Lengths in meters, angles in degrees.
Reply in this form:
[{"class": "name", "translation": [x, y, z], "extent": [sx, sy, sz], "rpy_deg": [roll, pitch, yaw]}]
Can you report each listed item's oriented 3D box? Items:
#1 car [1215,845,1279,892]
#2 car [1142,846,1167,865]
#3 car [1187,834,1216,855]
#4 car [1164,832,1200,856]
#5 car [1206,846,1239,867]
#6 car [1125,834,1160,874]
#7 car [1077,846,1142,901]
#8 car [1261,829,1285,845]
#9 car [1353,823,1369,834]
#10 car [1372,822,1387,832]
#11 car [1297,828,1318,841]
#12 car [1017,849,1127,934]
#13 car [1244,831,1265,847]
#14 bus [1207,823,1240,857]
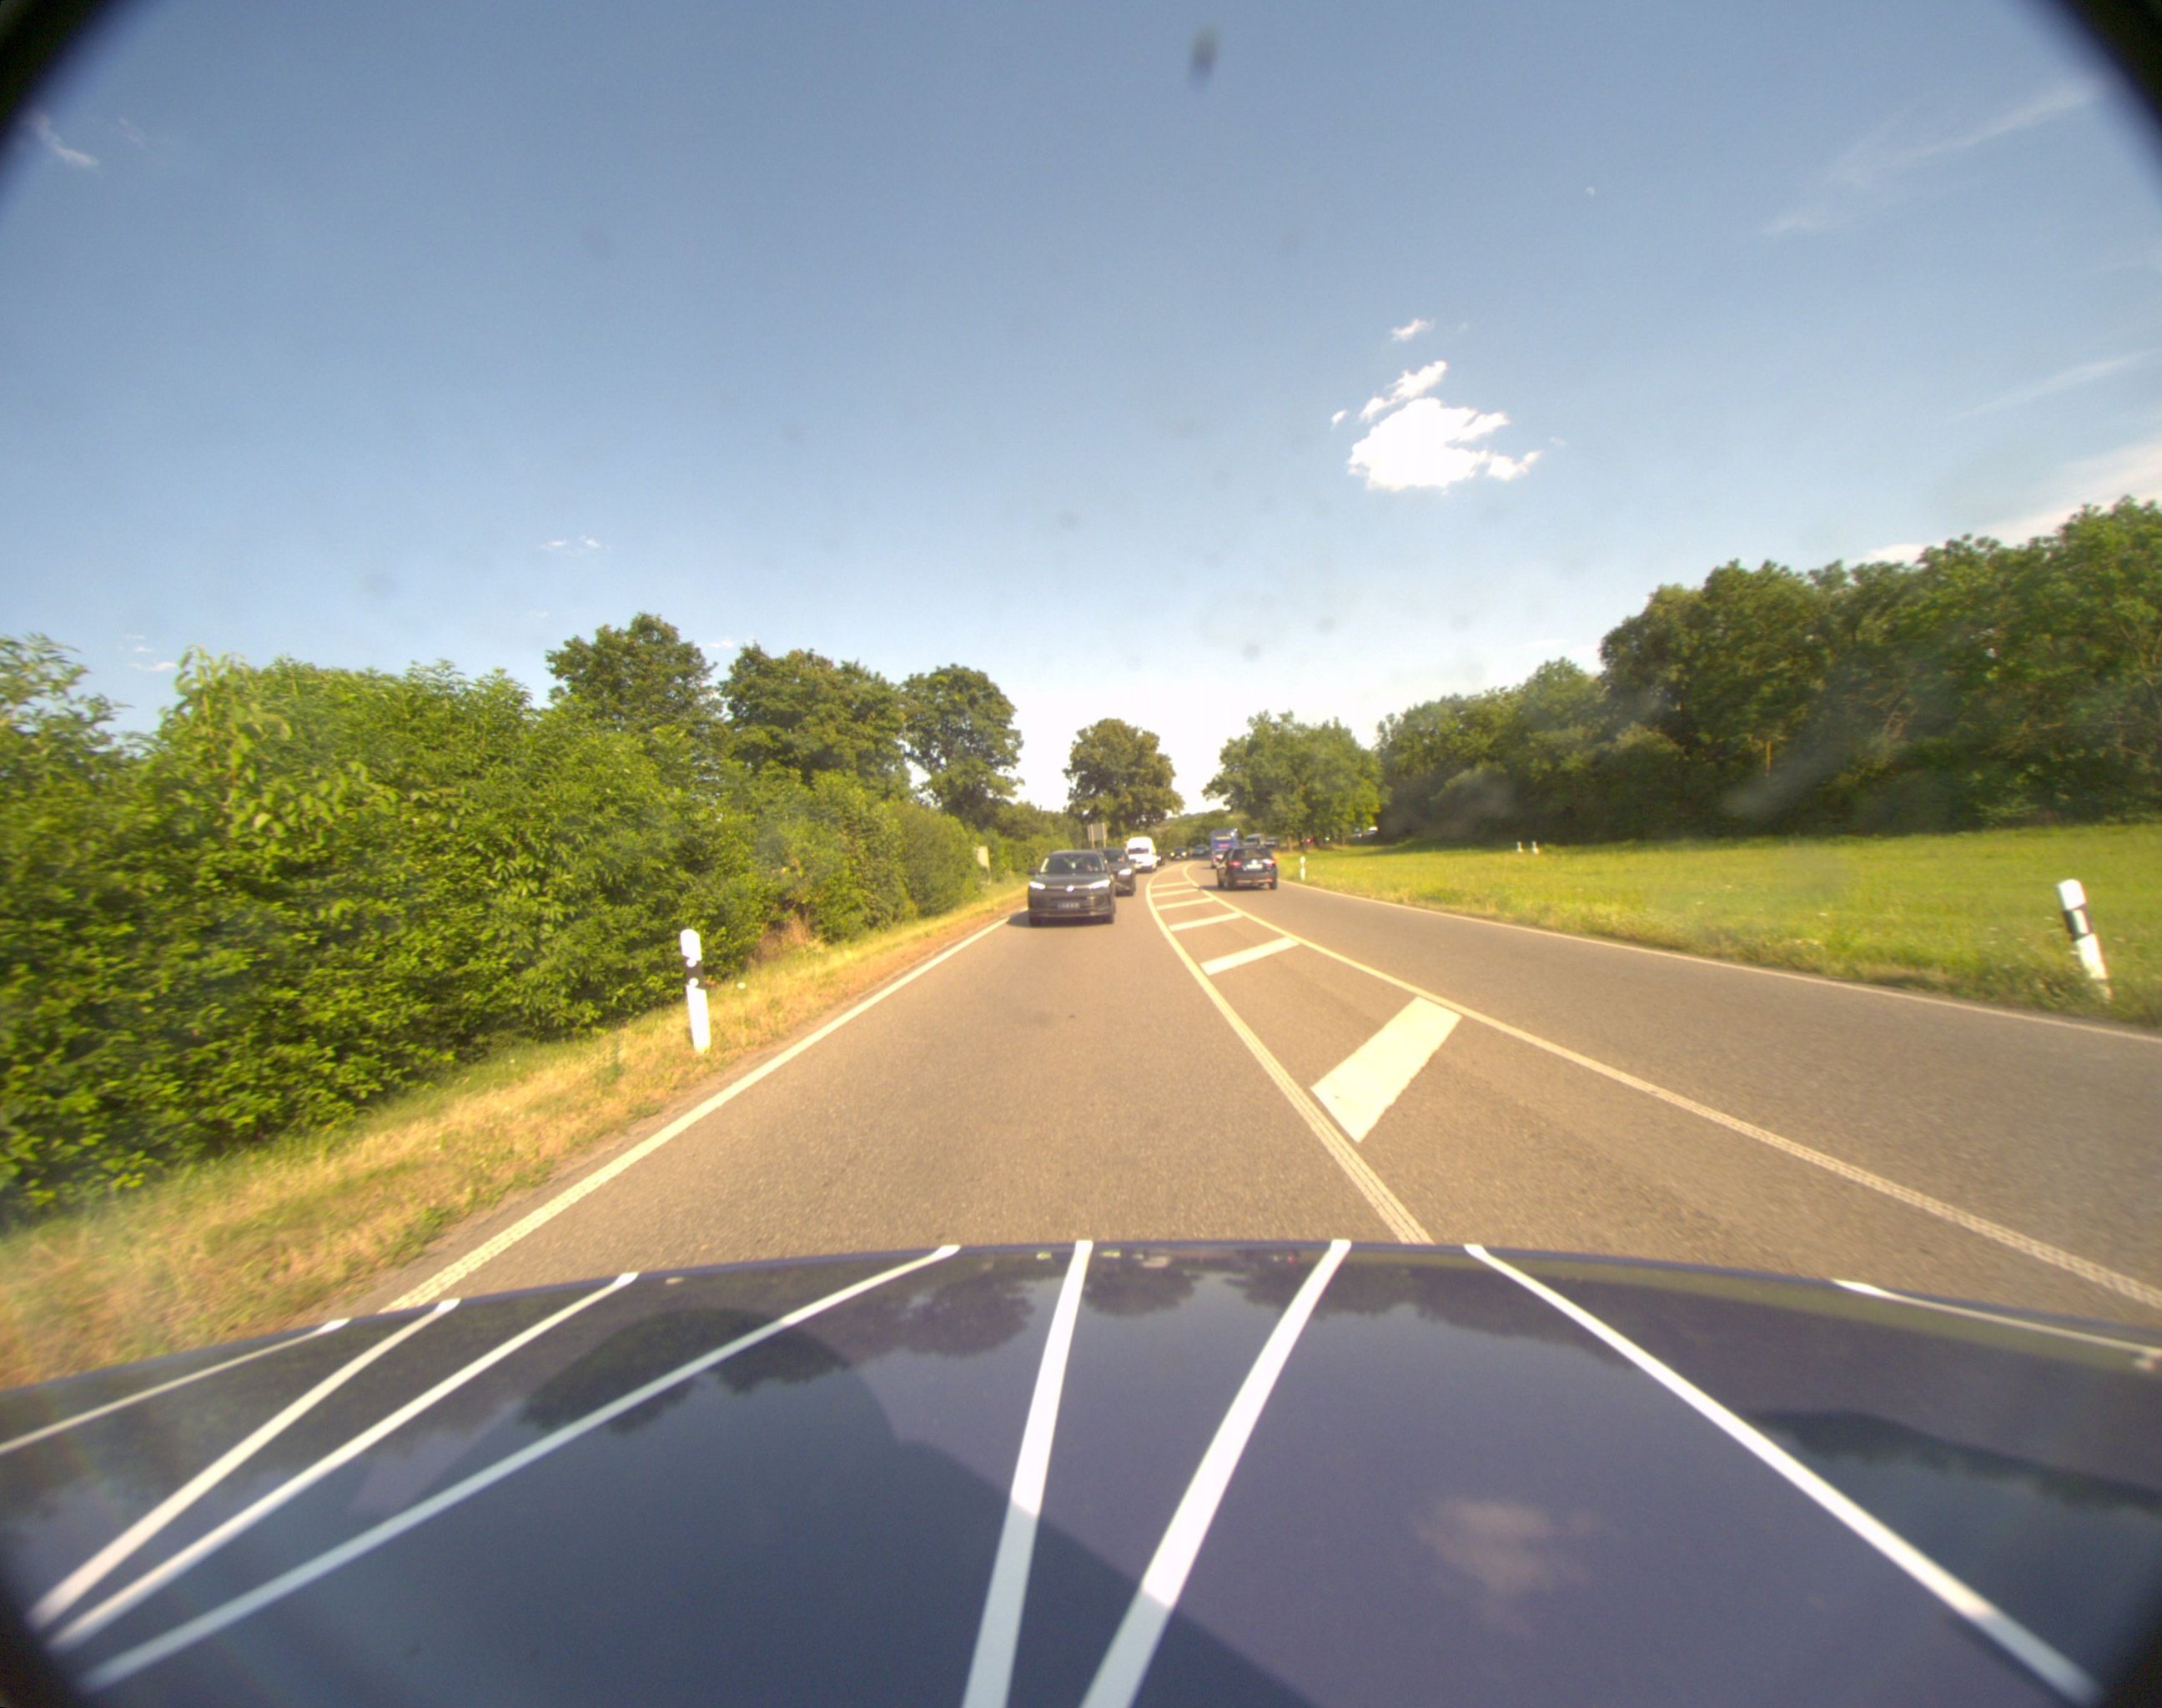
[{"class": "car", "translation": [5.972, 0.512, 27.734], "extent": [1.698, 1.543, 4.154], "rpy_deg": [-1, 0, 5]}, {"class": "car", "translation": [6.377, 0.105, 65.520], "extent": [1.697, 1.544, 4.155], "rpy_deg": [-1, 1, 12]}, {"class": "car", "translation": [15.691, -1.270, 98.386], "extent": [2.085, 2.403, 5.149], "rpy_deg": [-3, 2, 27]}, {"class": "car", "translation": [11.018, -1.102, 82.712], "extent": [2.085, 2.403, 5.149], "rpy_deg": [-3, 2, 27]}, {"class": "car", "translation": [10.075, 0.147, 54.453], "extent": [1.703, 1.326, 4.750], "rpy_deg": [-3, 1, 4]}, {"class": "car", "translation": [4.081, -0.083, 50.535], "extent": [2.088, 2.403, 5.142], "rpy_deg": [-3, 1, 5]}, {"class": "car", "translation": [1.141, 0.618, 27.598], "extent": [1.921, 1.719, 4.703], "rpy_deg": [-3, 1, 6]}, {"class": "car", "translation": [33.407, -2.992, 132.215], "extent": [2.084, 2.403, 5.151], "rpy_deg": [-2, 2, 39]}, {"class": "car", "translation": [69.426, -6.275, 188.159], "extent": [2.084, 2.403, 5.151], "rpy_deg": [-2, 2, 39]}, {"class": "car", "translation": [78.451, -7.080, 199.860], "extent": [2.084, 2.403, 5.151], "rpy_deg": [-2, 2, 39]}, {"class": "car", "translation": [46.335, -3.924, 155.440], "extent": [2.084, 2.403, 5.151], "rpy_deg": [-2, 2, 39]}, {"class": "car", "translation": [-0.049, 0.749, 17.771], "extent": [1.921, 1.612, 4.703], "rpy_deg": [-3, 1, 6]}, {"class": "car", "translation": [28.445, -2.521, 124.408], "extent": [2.085, 2.403, 5.149], "rpy_deg": [-3, 2, 27]}, {"class": "bus", "translation": [15.047, -1.538, 80.950], "extent": [2.799, 3.163, 12.131], "rpy_deg": [-3, 1, 9]}]
